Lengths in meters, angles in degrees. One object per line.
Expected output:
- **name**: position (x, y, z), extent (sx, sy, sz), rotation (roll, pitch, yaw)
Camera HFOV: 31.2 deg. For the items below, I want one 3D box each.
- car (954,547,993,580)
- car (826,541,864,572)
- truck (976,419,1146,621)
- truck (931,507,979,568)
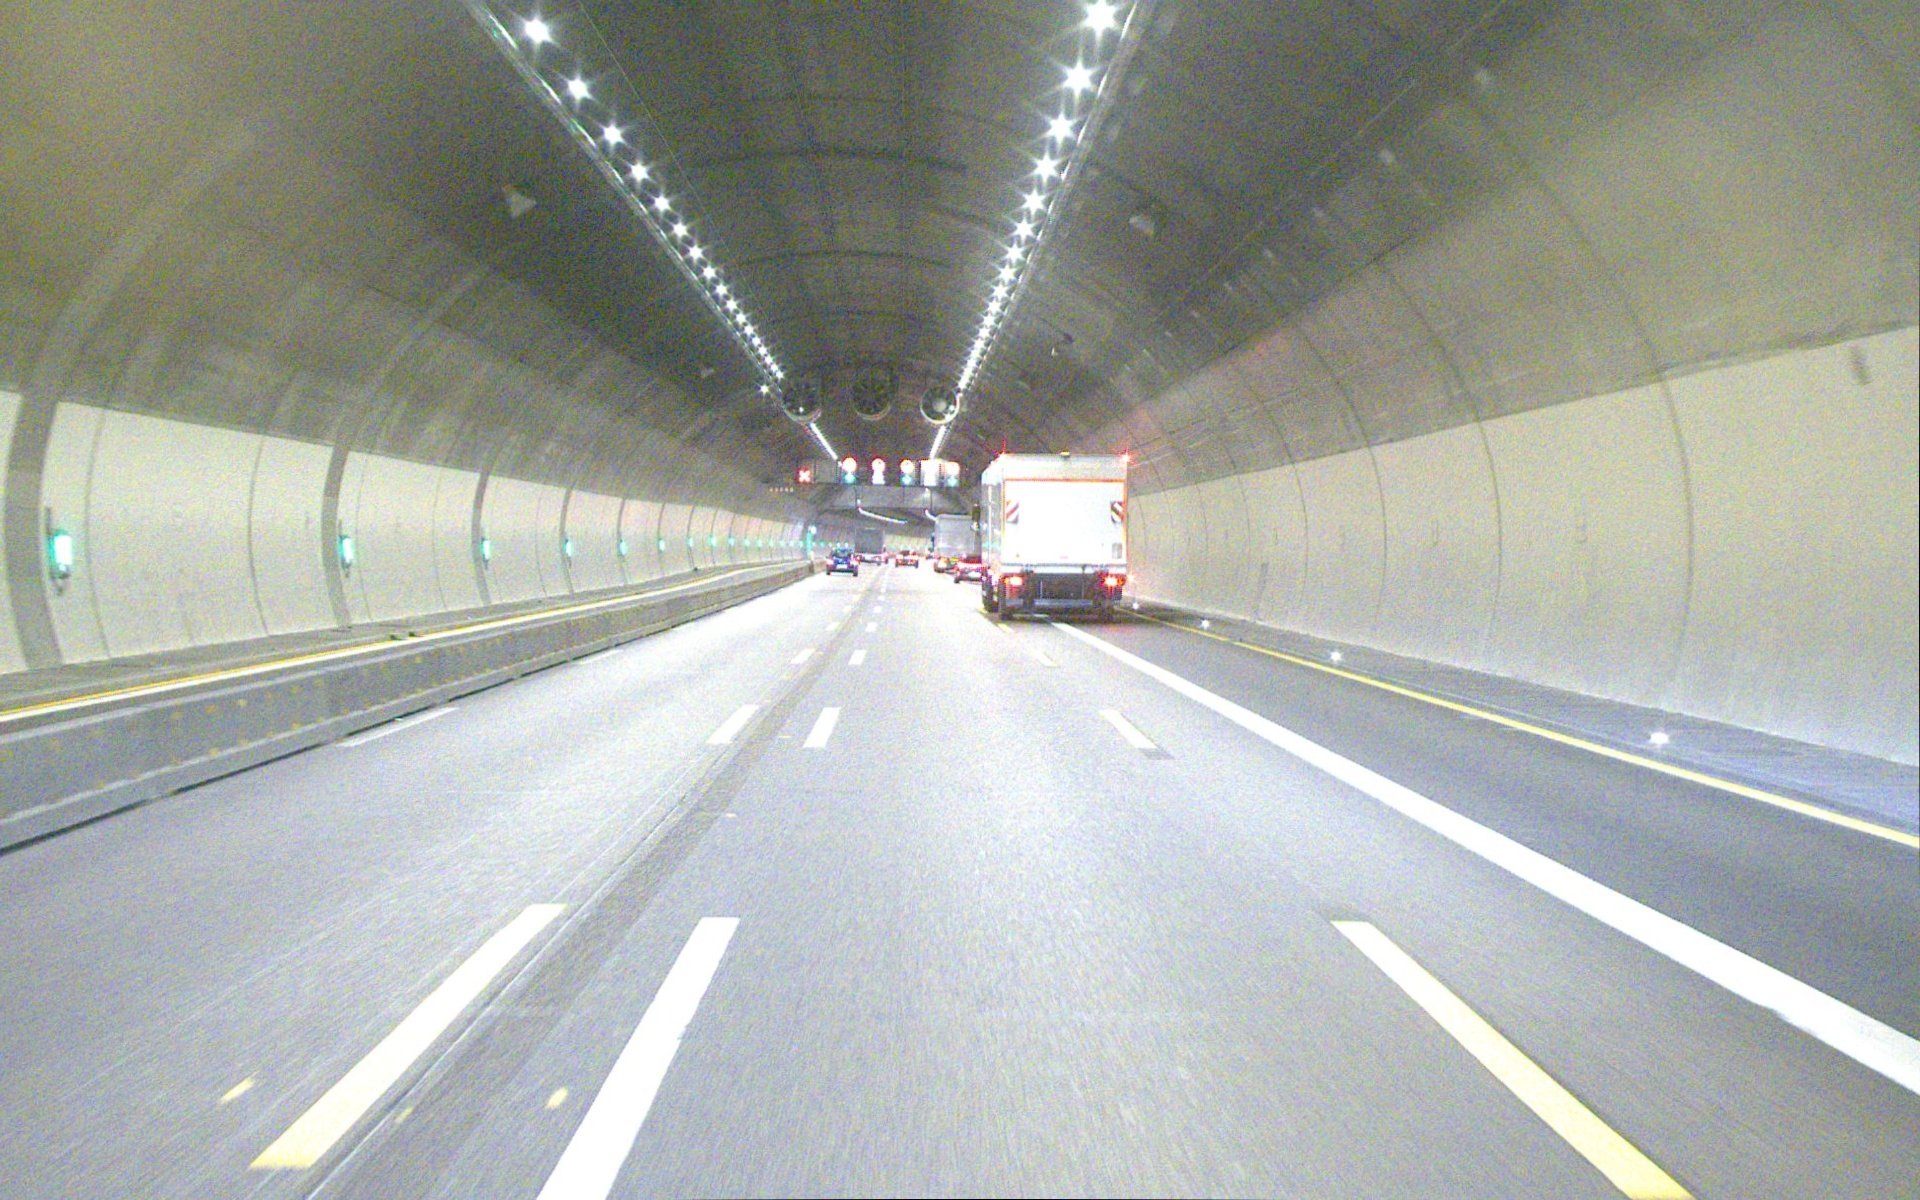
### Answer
- **car**: position (0.642, -1.727, 162.115), extent (1.739, 1.456, 3.960), rotation (2, 1, 1)
- **car**: position (-5.759, -2.216, 172.622), extent (1.758, 1.456, 4.119), rotation (2, 1, 0)
- **truck**: position (2.028, -1.596, 73.399), extent (3.092, 3.904, 10.368), rotation (2, 0, -1)
- **truck**: position (-0.313, -4.279, 238.269), extent (3.066, 3.904, 10.367), rotation (2, 0, 1)
